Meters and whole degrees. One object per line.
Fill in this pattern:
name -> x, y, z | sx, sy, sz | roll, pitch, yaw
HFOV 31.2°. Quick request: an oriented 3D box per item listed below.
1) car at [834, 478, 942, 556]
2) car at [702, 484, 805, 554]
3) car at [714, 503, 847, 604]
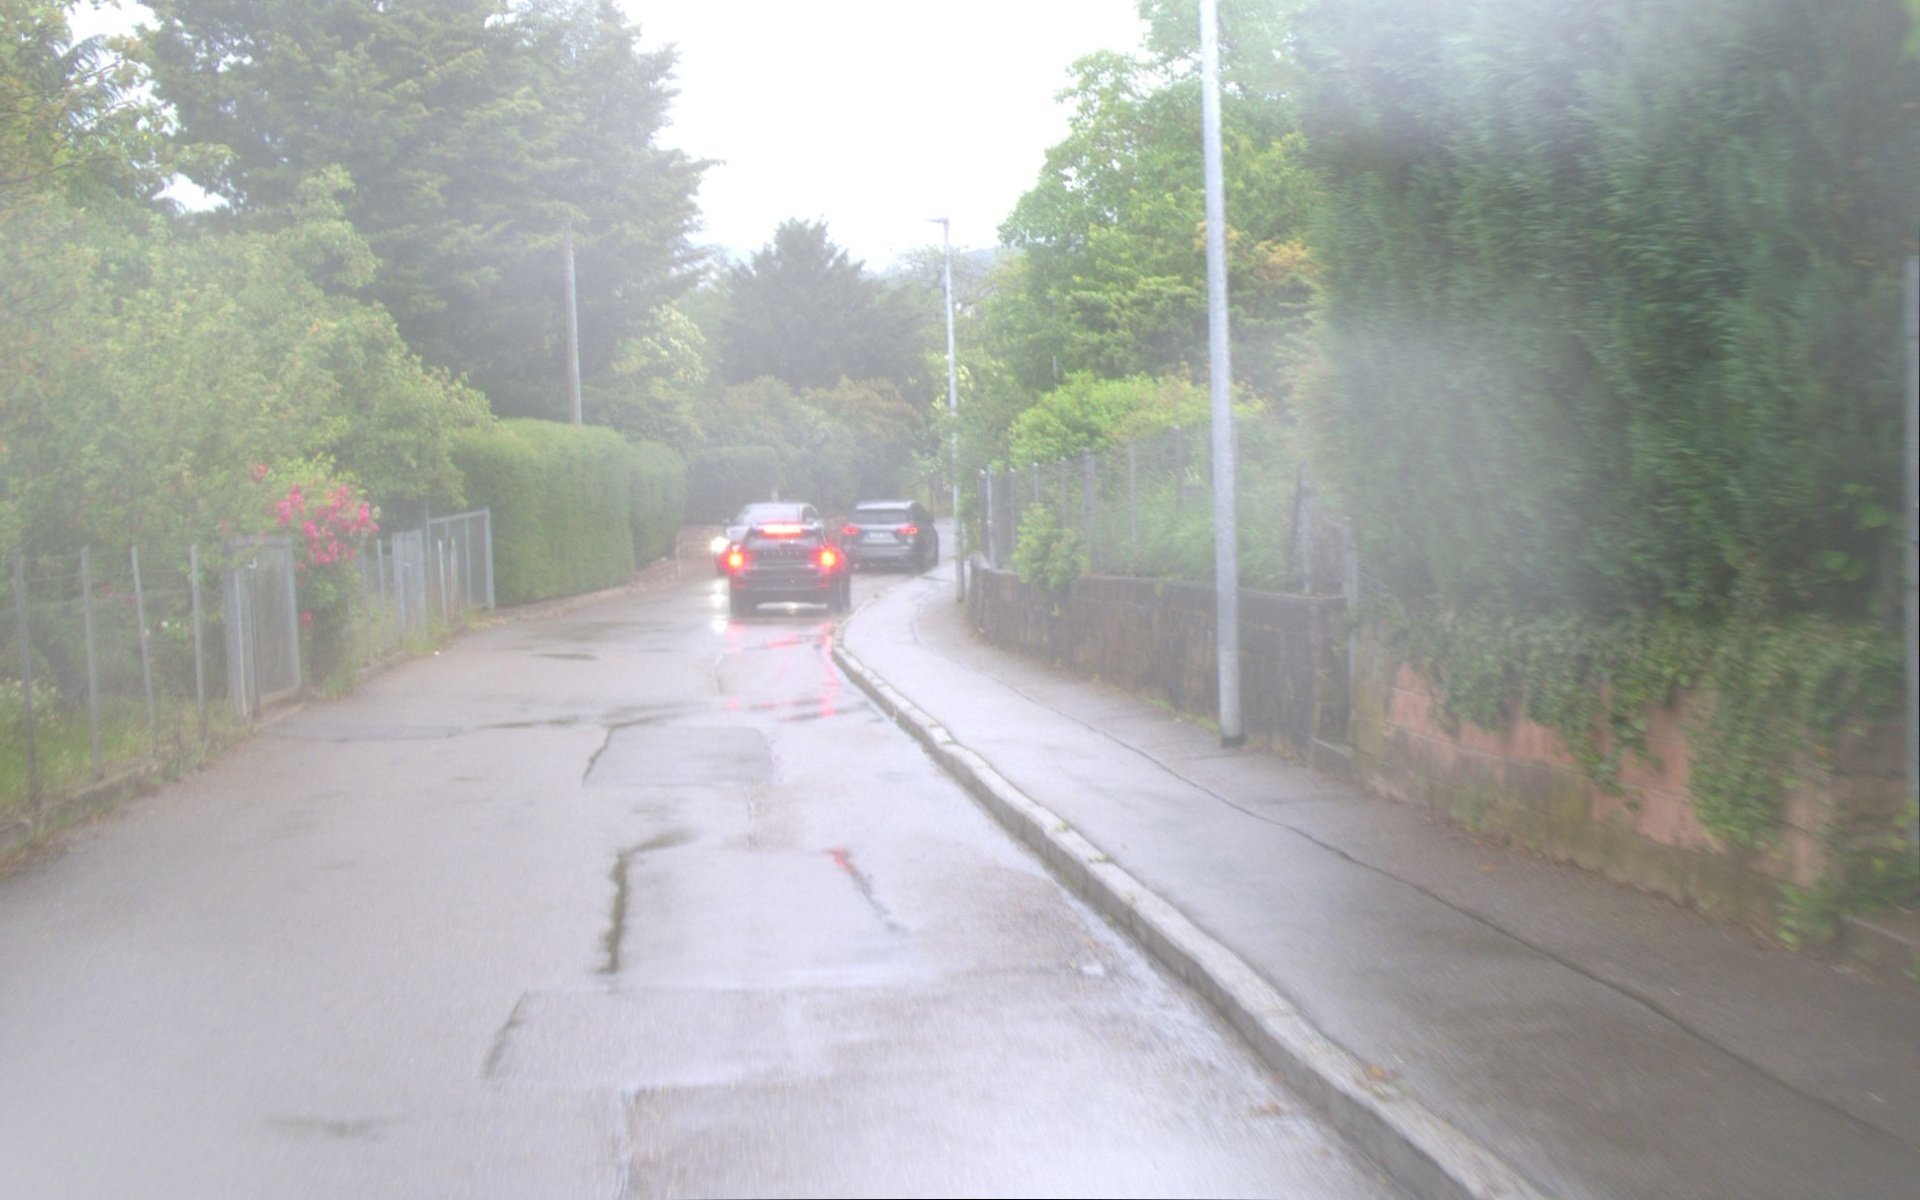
car -> -1.552, -1.839, 75.476 | 1.679, 1.559, 3.793 | 2, 3, 9
car -> -4.483, -1.792, 75.207 | 1.780, 1.488, 3.831 | 0, 2, 4
car -> -2.821, -0.758, 54.831 | 1.835, 1.459, 4.000 | 3, 1, 0
